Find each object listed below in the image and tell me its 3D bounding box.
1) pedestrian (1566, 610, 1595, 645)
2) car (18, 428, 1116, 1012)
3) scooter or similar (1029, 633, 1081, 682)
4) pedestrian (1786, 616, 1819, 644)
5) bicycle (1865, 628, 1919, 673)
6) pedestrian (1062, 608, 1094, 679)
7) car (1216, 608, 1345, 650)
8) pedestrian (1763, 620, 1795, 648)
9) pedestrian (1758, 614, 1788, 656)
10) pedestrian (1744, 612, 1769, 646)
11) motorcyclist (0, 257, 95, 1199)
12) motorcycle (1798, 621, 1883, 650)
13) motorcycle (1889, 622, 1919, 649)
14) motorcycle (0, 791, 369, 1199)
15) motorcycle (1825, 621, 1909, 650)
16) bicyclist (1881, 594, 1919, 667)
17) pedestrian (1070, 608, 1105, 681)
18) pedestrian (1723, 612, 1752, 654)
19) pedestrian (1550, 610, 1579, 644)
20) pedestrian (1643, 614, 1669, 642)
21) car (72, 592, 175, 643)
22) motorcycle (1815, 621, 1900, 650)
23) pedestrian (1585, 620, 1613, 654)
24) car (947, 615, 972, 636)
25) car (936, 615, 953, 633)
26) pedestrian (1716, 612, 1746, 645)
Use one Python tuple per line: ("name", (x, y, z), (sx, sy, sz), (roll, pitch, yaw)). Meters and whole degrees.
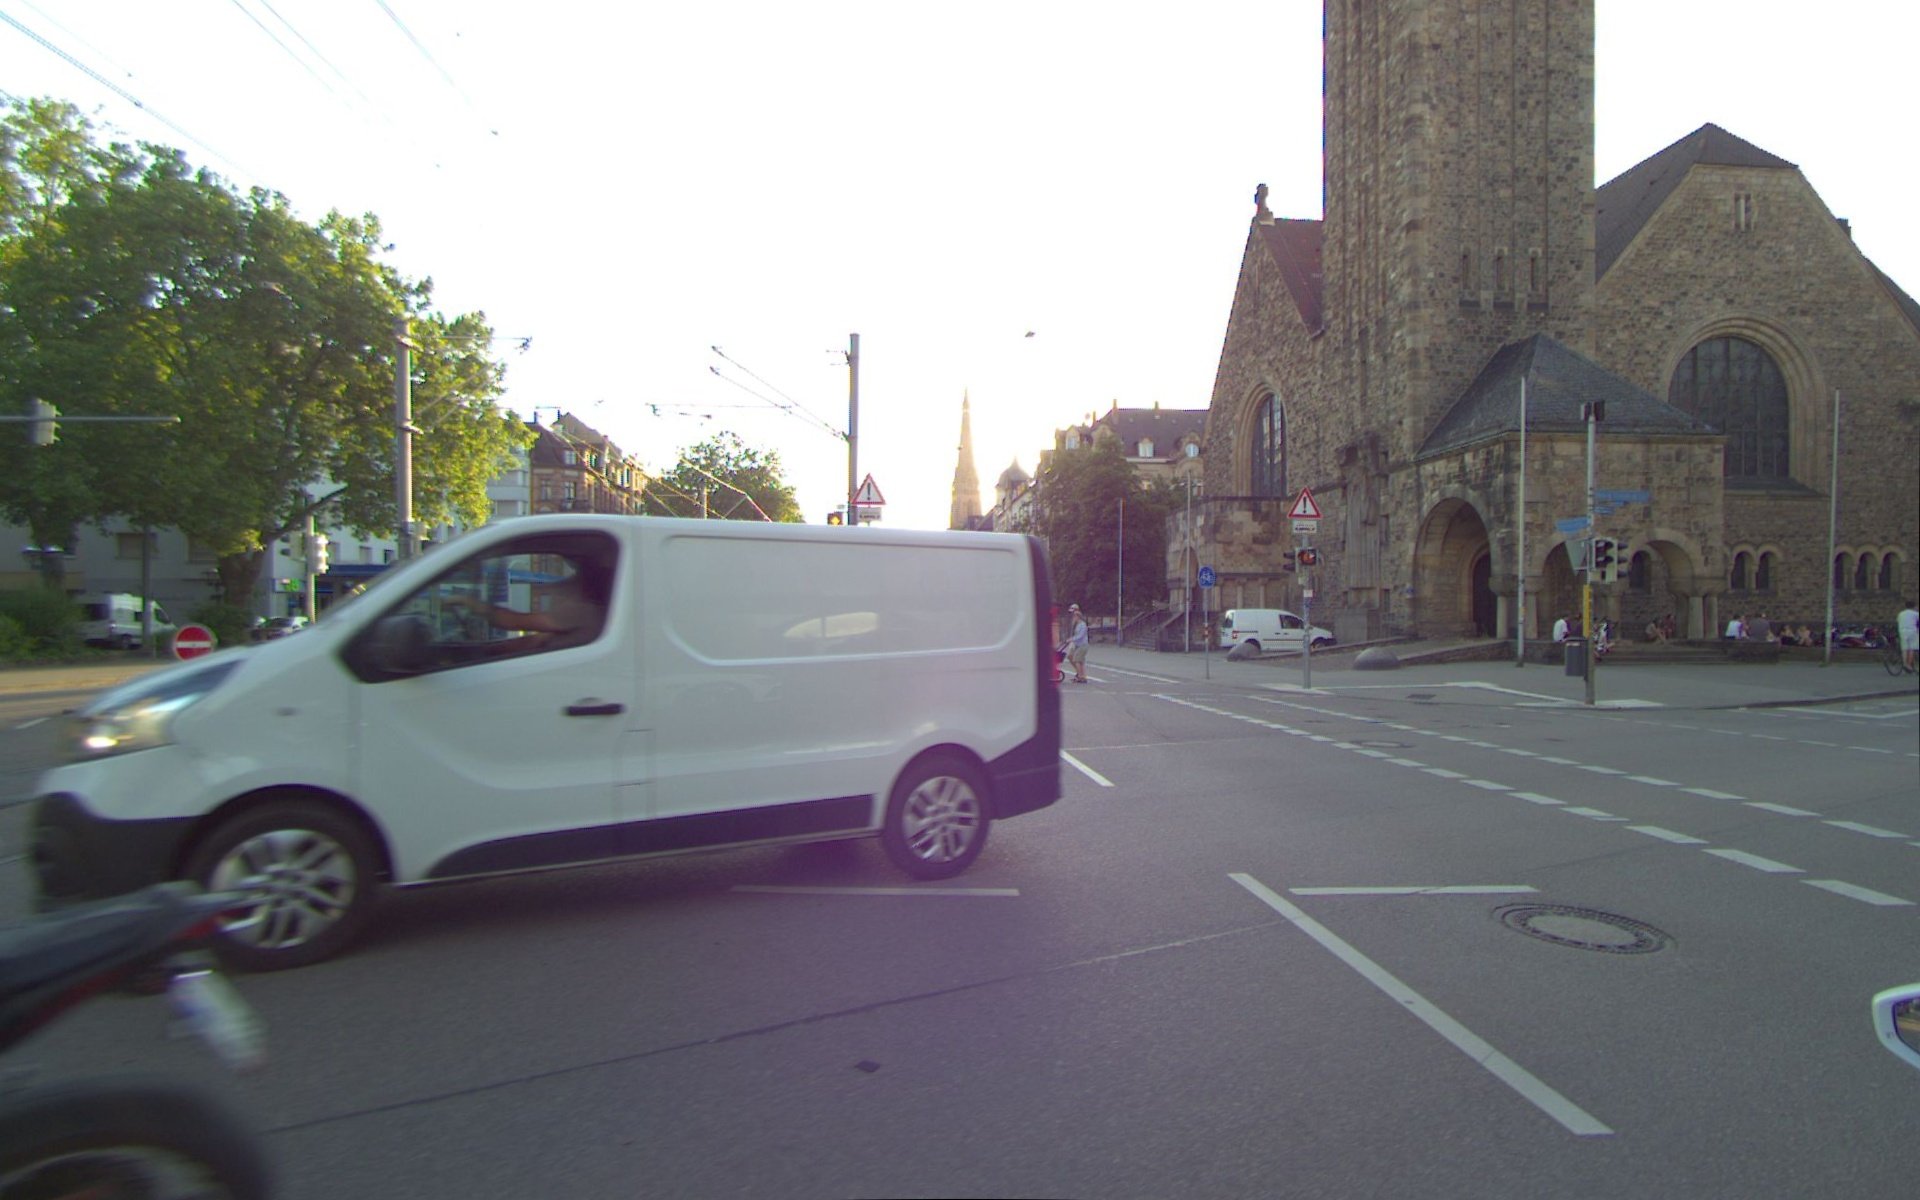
("pedestrian", (17.559, 0.767, 28.416), (0.471, 0.973, 0.522), (1, 0, -9))
("car", (-1.664, 0.466, 5.626), (4.892, 2.040, 1.984), (1, -1, -30))
("scooter or similar", (2.260, 1.349, 23.889), (1.061, 1.118, 0.633), (1, 0, -18))
("pedestrian", (29.636, 1.044, 35.331), (0.696, 0.973, 0.553), (1, 0, -8))
("bicycle", (24.517, 1.295, 25.962), (2.209, 1.092, 0.656), (1, 0, -18))
("pedestrian", (2.909, 1.058, 24.764), (0.592, 1.721, 0.634), (1, 0, -14))
("car", (12.208, 1.097, 38.360), (4.370, 1.537, 1.718), (1, 0, -5))
("pedestrian", (28.844, 1.185, 35.370), (0.696, 0.973, 0.553), (1, 0, -8))
("pedestrian", (24.797, 1.050, 30.632), (0.514, 1.262, 0.478), (1, 0, -11))
("pedestrian", (23.320, 0.843, 29.413), (0.476, 0.973, 0.516), (1, 0, -44))
("motorcyclist", (-1.930, 0.307, 1.383), (0.952, 1.666, 0.870), (1, 0, -30))
("motorcycle", (32.154, 1.287, 36.725), (0.700, 1.001, 2.230), (1, 0, -33))
("motorcycle", (36.388, 1.344, 37.825), (0.583, 1.001, 2.168), (1, 0, -8))
("motorcycle", (-1.950, 0.926, 1.400), (1.923, 1.057, 0.596), (1, 0, -30))
("motorcycle", (33.944, 1.313, 37.621), (0.700, 1.001, 2.230), (1, 0, -33))
("bicyclist", (24.464, 0.774, 25.944), (0.846, 1.852, 0.655), (1, 0, -21))
("pedestrian", (3.051, 1.058, 24.069), (0.593, 1.721, 0.633), (1, 0, -18))
("pedestrian", (23.866, 0.999, 30.844), (0.514, 1.262, 0.478), (1, 0, -11))
("pedestrian", (17.508, 0.769, 29.099), (0.471, 0.973, 0.522), (1, 0, -9))
("pedestrian", (24.970, 0.988, 36.025), (0.702, 0.973, 0.548), (1, 0, -35))
("car", (-40.911, 0.811, 49.239), (1.962, 2.375, 3.996), (1, 0, -6))
("motorcycle", (33.250, 1.303, 37.246), (0.700, 1.001, 2.230), (1, 0, -33))
("pedestrian", (18.507, 1.060, 29.094), (0.513, 0.973, 0.479), (1, 0, 1))
("car", (-0.043, 2.609, 104.587), (1.964, 2.040, 3.994), (1, 0, -9))
("car", (-1.832, 2.822, 120.274), (1.961, 2.040, 3.999), (1, 0, -2))
("pedestrian", (23.061, 0.842, 30.059), (0.471, 0.973, 0.522), (1, 0, -11))
